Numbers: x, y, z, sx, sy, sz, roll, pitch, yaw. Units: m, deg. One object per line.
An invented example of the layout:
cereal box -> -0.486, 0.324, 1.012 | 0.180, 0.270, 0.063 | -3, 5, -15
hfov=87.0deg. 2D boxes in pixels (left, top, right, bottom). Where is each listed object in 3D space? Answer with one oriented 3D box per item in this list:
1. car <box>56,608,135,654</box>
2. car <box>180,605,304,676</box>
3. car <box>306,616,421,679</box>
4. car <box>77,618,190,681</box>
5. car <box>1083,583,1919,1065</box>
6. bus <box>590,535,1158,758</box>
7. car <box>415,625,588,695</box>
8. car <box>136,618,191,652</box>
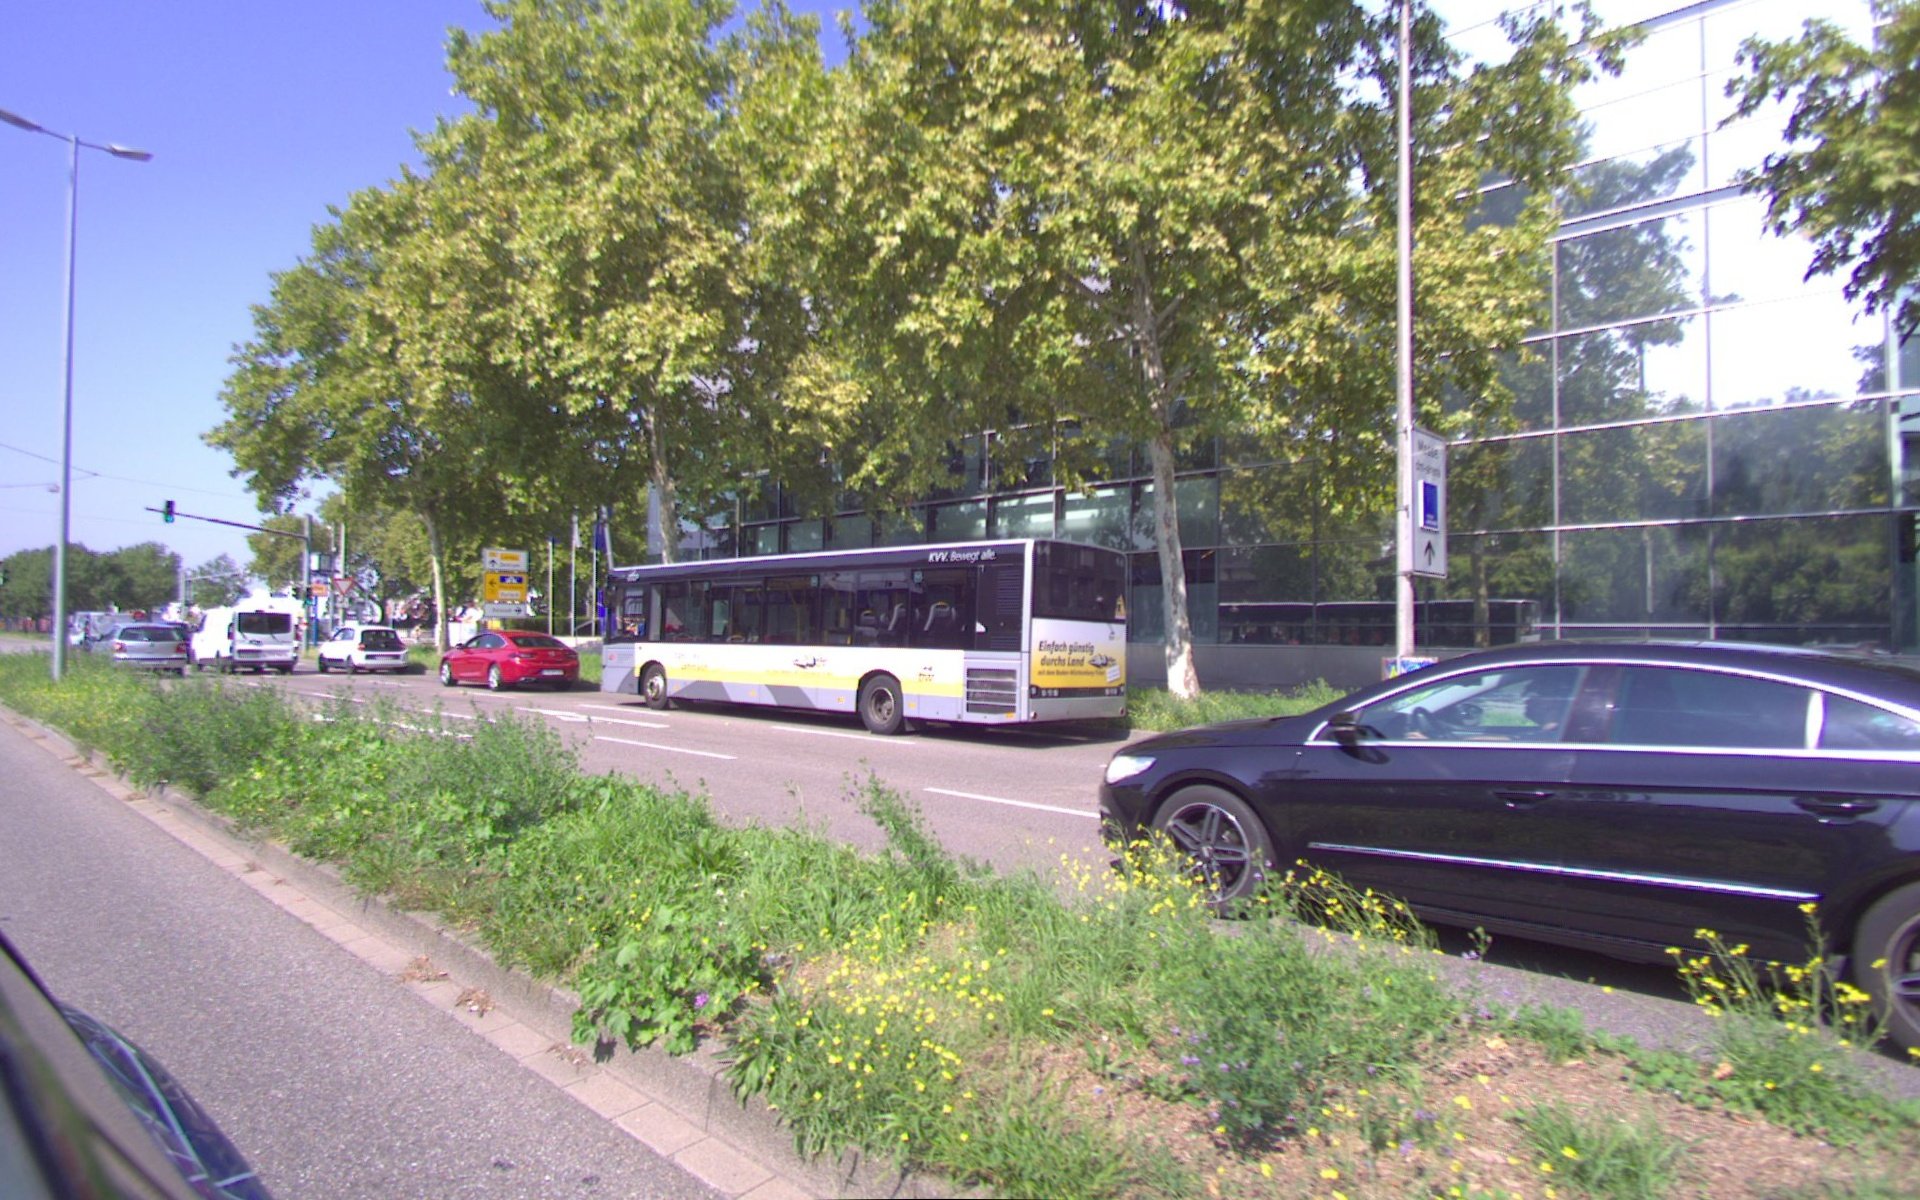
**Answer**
car -> -39.438, 1.465, 46.131 | 5.209, 1.973, 1.907 | -2, -4, 41
car -> -21.885, 1.235, 30.758 | 5.188, 1.975, 1.906 | -2, -5, 42
car -> -19.245, 1.510, 32.609 | 3.973, 1.910, 1.907 | -1, -4, 41
car -> -22.015, 1.329, 26.909 | 4.099, 1.547, 1.597 | -3, -5, 41
car -> 2.975, 0.753, 4.442 | 4.643, 1.501, 1.825 | -1, -4, 43
bus -> -2.161, 0.705, 16.925 | 10.902, 2.715, 2.633 | -1, -4, 42
car -> -11.437, 1.446, 25.085 | 5.208, 1.522, 1.761 | -1, -4, 40
car -> -41.065, 1.788, 52.142 | 3.731, 1.546, 1.649 | 2, -2, 44
